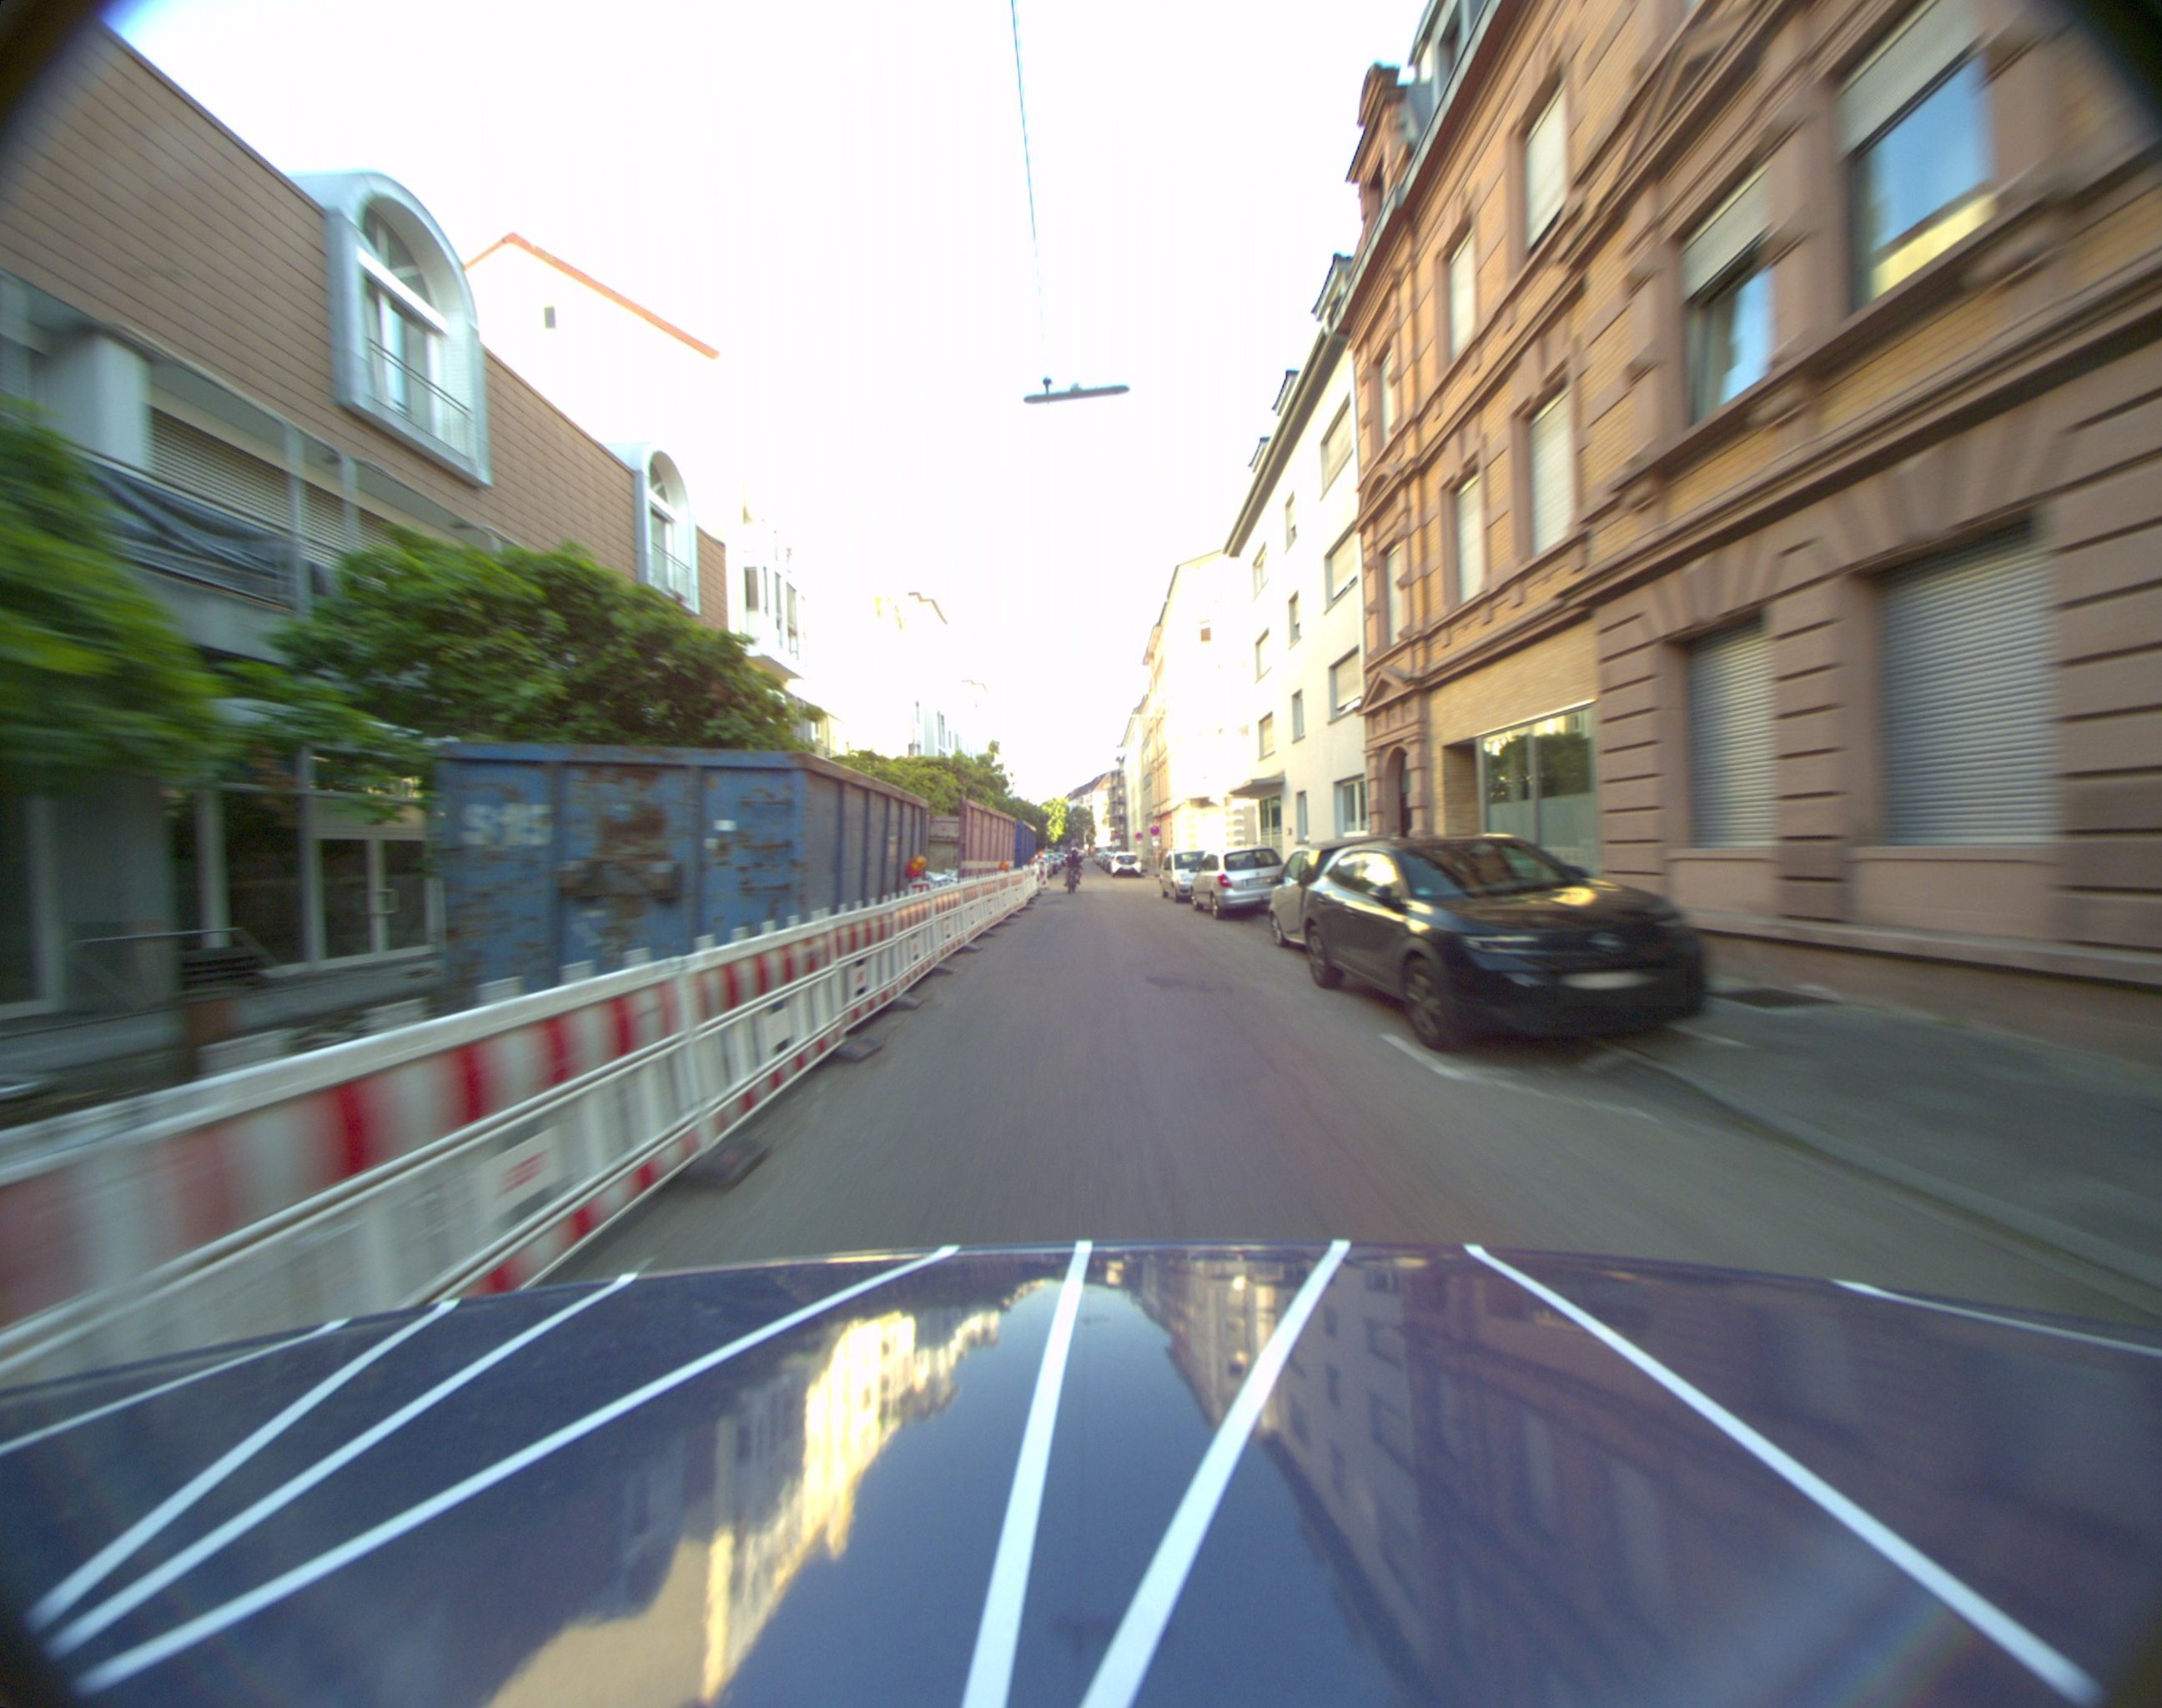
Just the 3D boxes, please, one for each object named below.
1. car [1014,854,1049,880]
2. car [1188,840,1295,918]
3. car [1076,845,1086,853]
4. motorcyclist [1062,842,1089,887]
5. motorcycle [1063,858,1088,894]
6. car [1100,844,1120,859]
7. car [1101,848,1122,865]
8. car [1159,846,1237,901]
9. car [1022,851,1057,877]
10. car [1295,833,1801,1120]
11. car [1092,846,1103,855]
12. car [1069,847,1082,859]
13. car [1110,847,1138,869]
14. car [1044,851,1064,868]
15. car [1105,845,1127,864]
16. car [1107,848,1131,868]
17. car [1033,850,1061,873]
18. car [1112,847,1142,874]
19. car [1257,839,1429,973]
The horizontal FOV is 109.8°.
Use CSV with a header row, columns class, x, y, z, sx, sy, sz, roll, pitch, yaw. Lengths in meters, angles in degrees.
class,x,y,z,sx,sy,sz,roll,pitch,yaw
car,-2.991,0.751,46.751,1.638,1.439,4.067,-3,1,3
car,3.448,0.480,16.900,1.559,1.500,3.597,-2,1,-1
car,-0.001,-1.111,176.335,1.998,1.783,4.000,-3,1,0
motorcyclist,-0.211,0.402,27.975,0.874,1.558,1.000,-4,-1,0
motorcycle,-0.179,0.798,27.887,0.806,1.242,1.698,-4,-1,0
car,3.352,-0.315,88.597,1.999,1.576,4.492,-3,1,-1
car,2.927,0.217,73.715,1.662,1.421,4.352,-3,1,-1
car,3.350,0.519,22.316,1.636,1.422,3.554,-3,1,-1
car,-2.776,0.665,51.475,1.912,1.576,4.000,-3,1,3
car,3.283,0.697,6.421,1.744,1.590,4.014,-3,1,0
car,3.206,-0.685,146.635,1.998,1.783,4.000,-3,1,0
car,-0.926,-0.200,128.646,1.998,1.783,4.000,-3,1,0
car,2.880,0.246,51.210,1.614,1.420,3.961,0,1,-1
car,-2.715,0.540,76.679,1.855,1.480,3.999,-3,1,-1
car,2.823,0.018,62.764,1.537,1.490,4.195,-1,1,-1
car,2.815,0.272,56.638,1.589,1.407,3.912,1,1,0
car,-2.665,0.551,60.428,1.863,1.679,4.390,-3,1,2
car,2.779,0.354,46.250,1.688,1.487,3.844,1,1,2
car,3.550,0.629,10.753,1.399,1.579,2.793,-3,1,0
